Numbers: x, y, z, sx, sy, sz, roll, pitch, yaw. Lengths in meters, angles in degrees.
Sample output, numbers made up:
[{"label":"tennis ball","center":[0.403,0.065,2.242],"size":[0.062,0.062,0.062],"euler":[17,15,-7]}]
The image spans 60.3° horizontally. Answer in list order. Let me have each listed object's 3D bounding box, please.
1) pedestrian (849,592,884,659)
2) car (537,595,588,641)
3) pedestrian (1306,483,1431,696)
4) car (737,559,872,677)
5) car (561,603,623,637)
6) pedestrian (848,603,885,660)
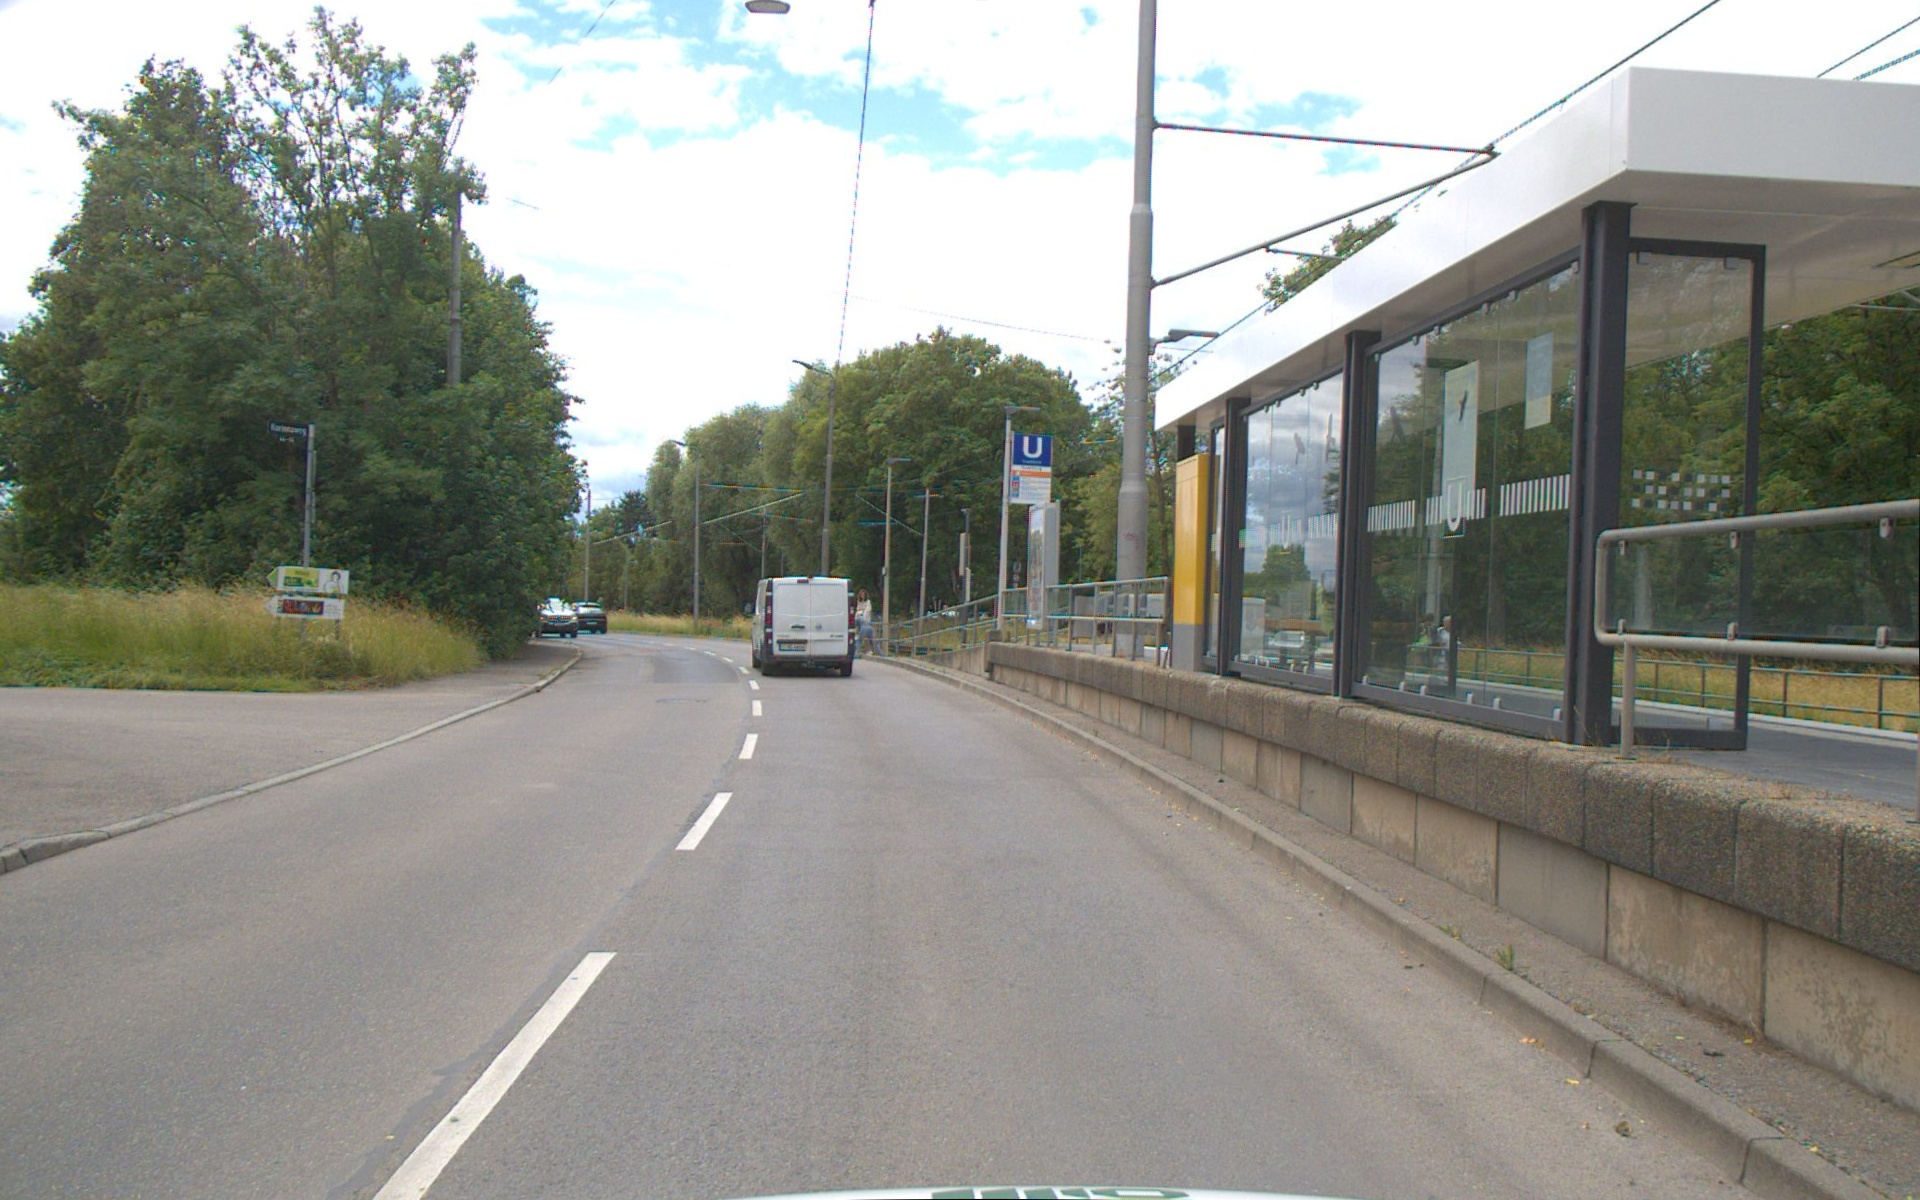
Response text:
[{"label":"pedestrian","center":[-2.585,0.703,45.663],"size":[0.750,1.826,0.624],"euler":[2,-1,-30]},{"label":"car","center":[-18.598,0.822,77.304],"size":[1.962,2.049,4.302],"euler":[1,0,-18]},{"label":"pedestrian","center":[2.843,-0.079,11.565],"size":[0.626,1.429,0.764],"euler":[1,1,-4]},{"label":"car","center":[-3.344,0.368,34.567],"size":[2.080,2.171,5.423],"euler":[3,-1,-12]},{"label":"car","center":[-19.721,1.052,88.505],"size":[2.326,1.591,4.337],"euler":[4,-1,-25]},{"label":"pedestrian","center":[-2.498,0.843,44.201],"size":[0.750,1.518,0.624],"euler":[2,-1,-30]}]
